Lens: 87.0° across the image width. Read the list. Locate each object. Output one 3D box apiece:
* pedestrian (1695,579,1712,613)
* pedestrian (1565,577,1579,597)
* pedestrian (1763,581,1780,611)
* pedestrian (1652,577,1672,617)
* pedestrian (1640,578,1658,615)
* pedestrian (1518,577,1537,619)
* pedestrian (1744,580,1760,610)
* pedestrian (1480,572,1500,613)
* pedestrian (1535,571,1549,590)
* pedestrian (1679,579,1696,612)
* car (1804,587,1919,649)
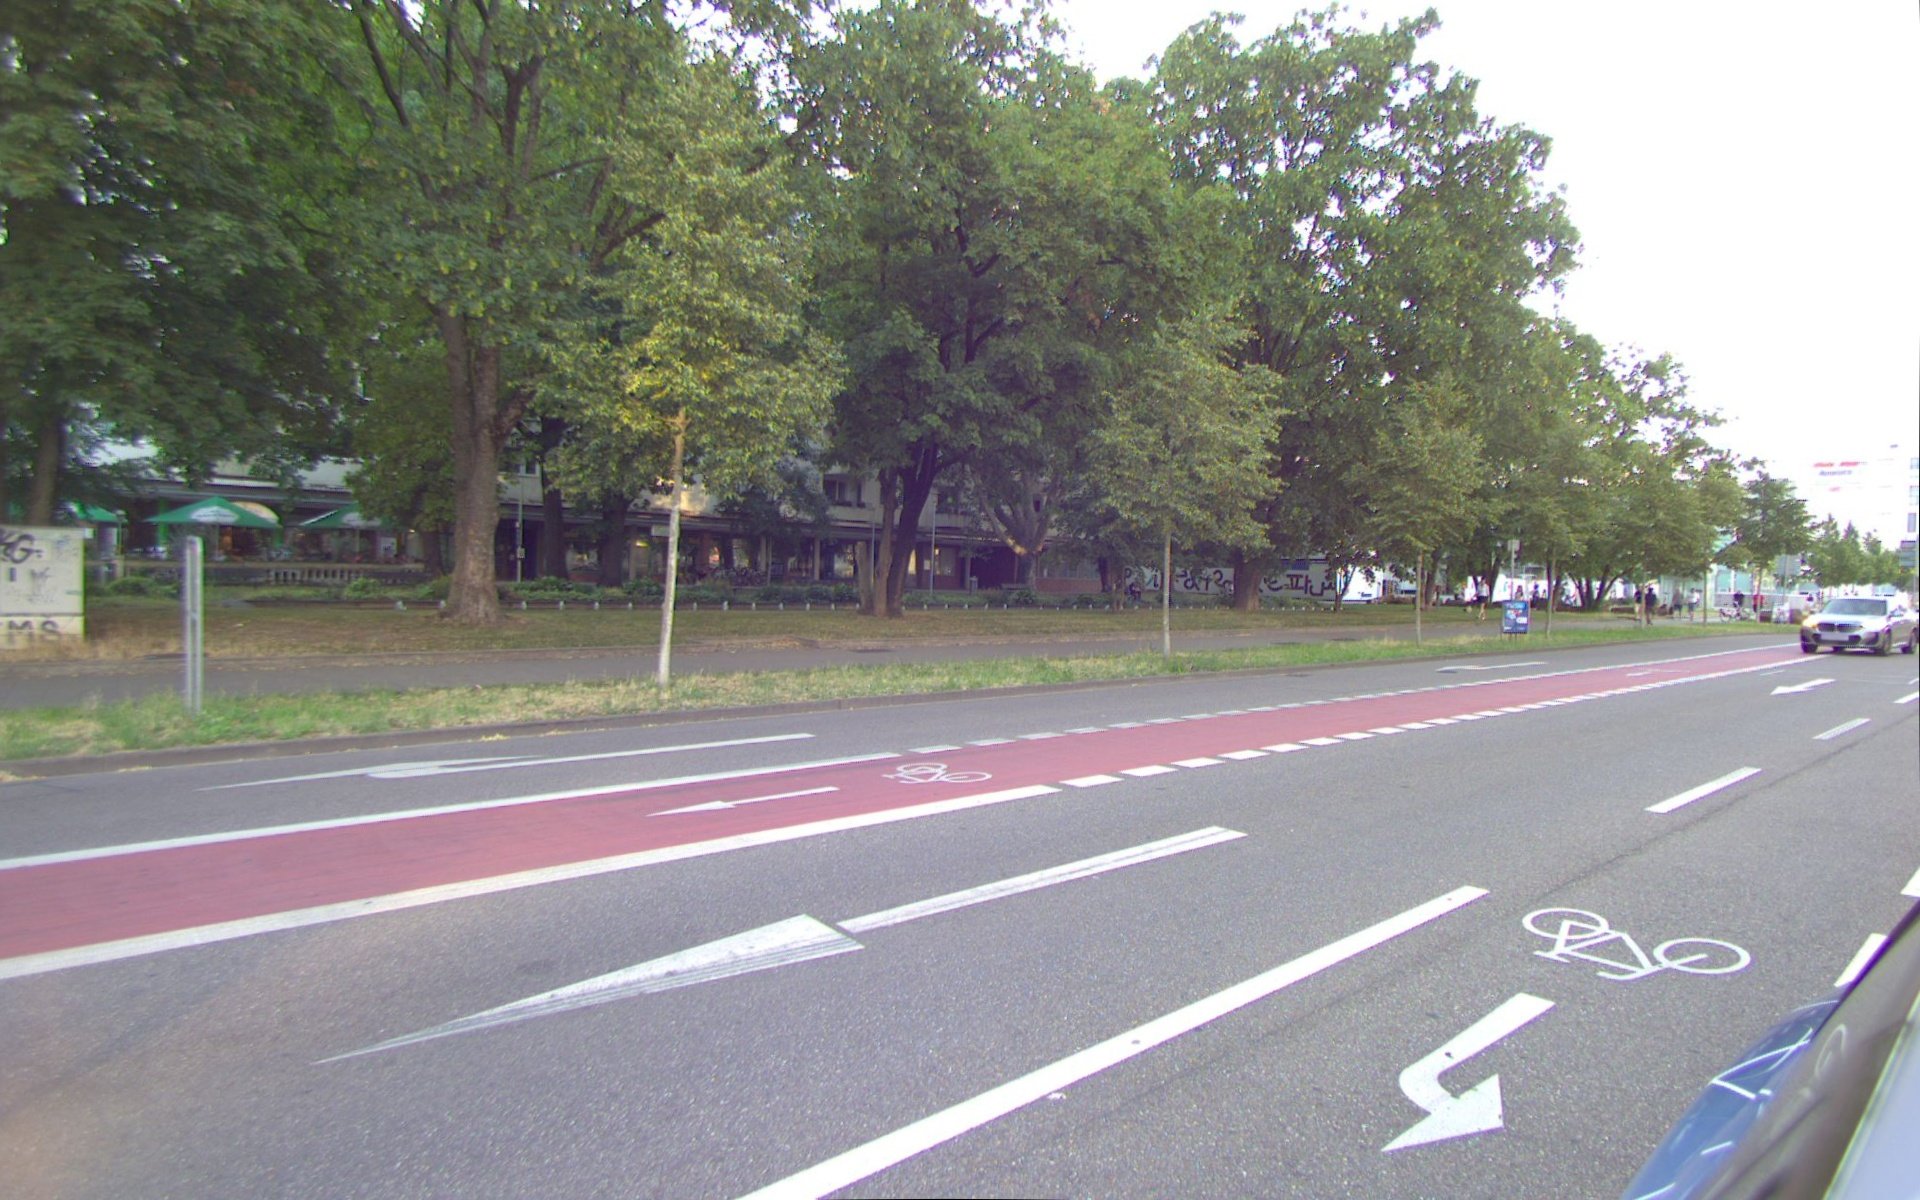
[{"bbox_3d":[39.112,-0.224,53.242,0.707,1.751,0.508,0,2,-40],"label":"pedestrian"},{"bbox_3d":[43.021,-0.937,71.146,0.550,1.371,0.662,0,2,-40],"label":"pedestrian"},{"bbox_3d":[48.814,-0.235,60.873,0.497,1.779,0.638,0,2,-40],"label":"pedestrian"},{"bbox_3d":[31.288,-0.147,45.096,0.546,1.760,0.558,0,2,-41],"label":"pedestrian"},{"bbox_3d":[33.731,-0.178,49.518,0.707,1.751,0.508,0,2,-40],"label":"pedestrian"},{"bbox_3d":[21.843,-0.080,38.939,0.359,1.621,0.500,1,2,-40],"label":"pedestrian"},{"bbox_3d":[48.464,-0.322,61.926,0.497,1.779,0.638,0,2,-40],"label":"pedestrian"},{"bbox_3d":[20.886,-0.299,39.869,0.513,1.621,0.500,0,2,-41],"label":"pedestrian"},{"bbox_3d":[41.421,-1.378,71.977,0.669,1.371,0.631,0,2,-41],"label":"pedestrian"},{"bbox_3d":[38.816,-0.244,53.979,0.707,1.751,0.519,0,2,-40],"label":"pedestrian"},{"bbox_3d":[25.563,0.467,28.389,4.254,1.642,1.828,0,0,-35],"label":"car"}]
